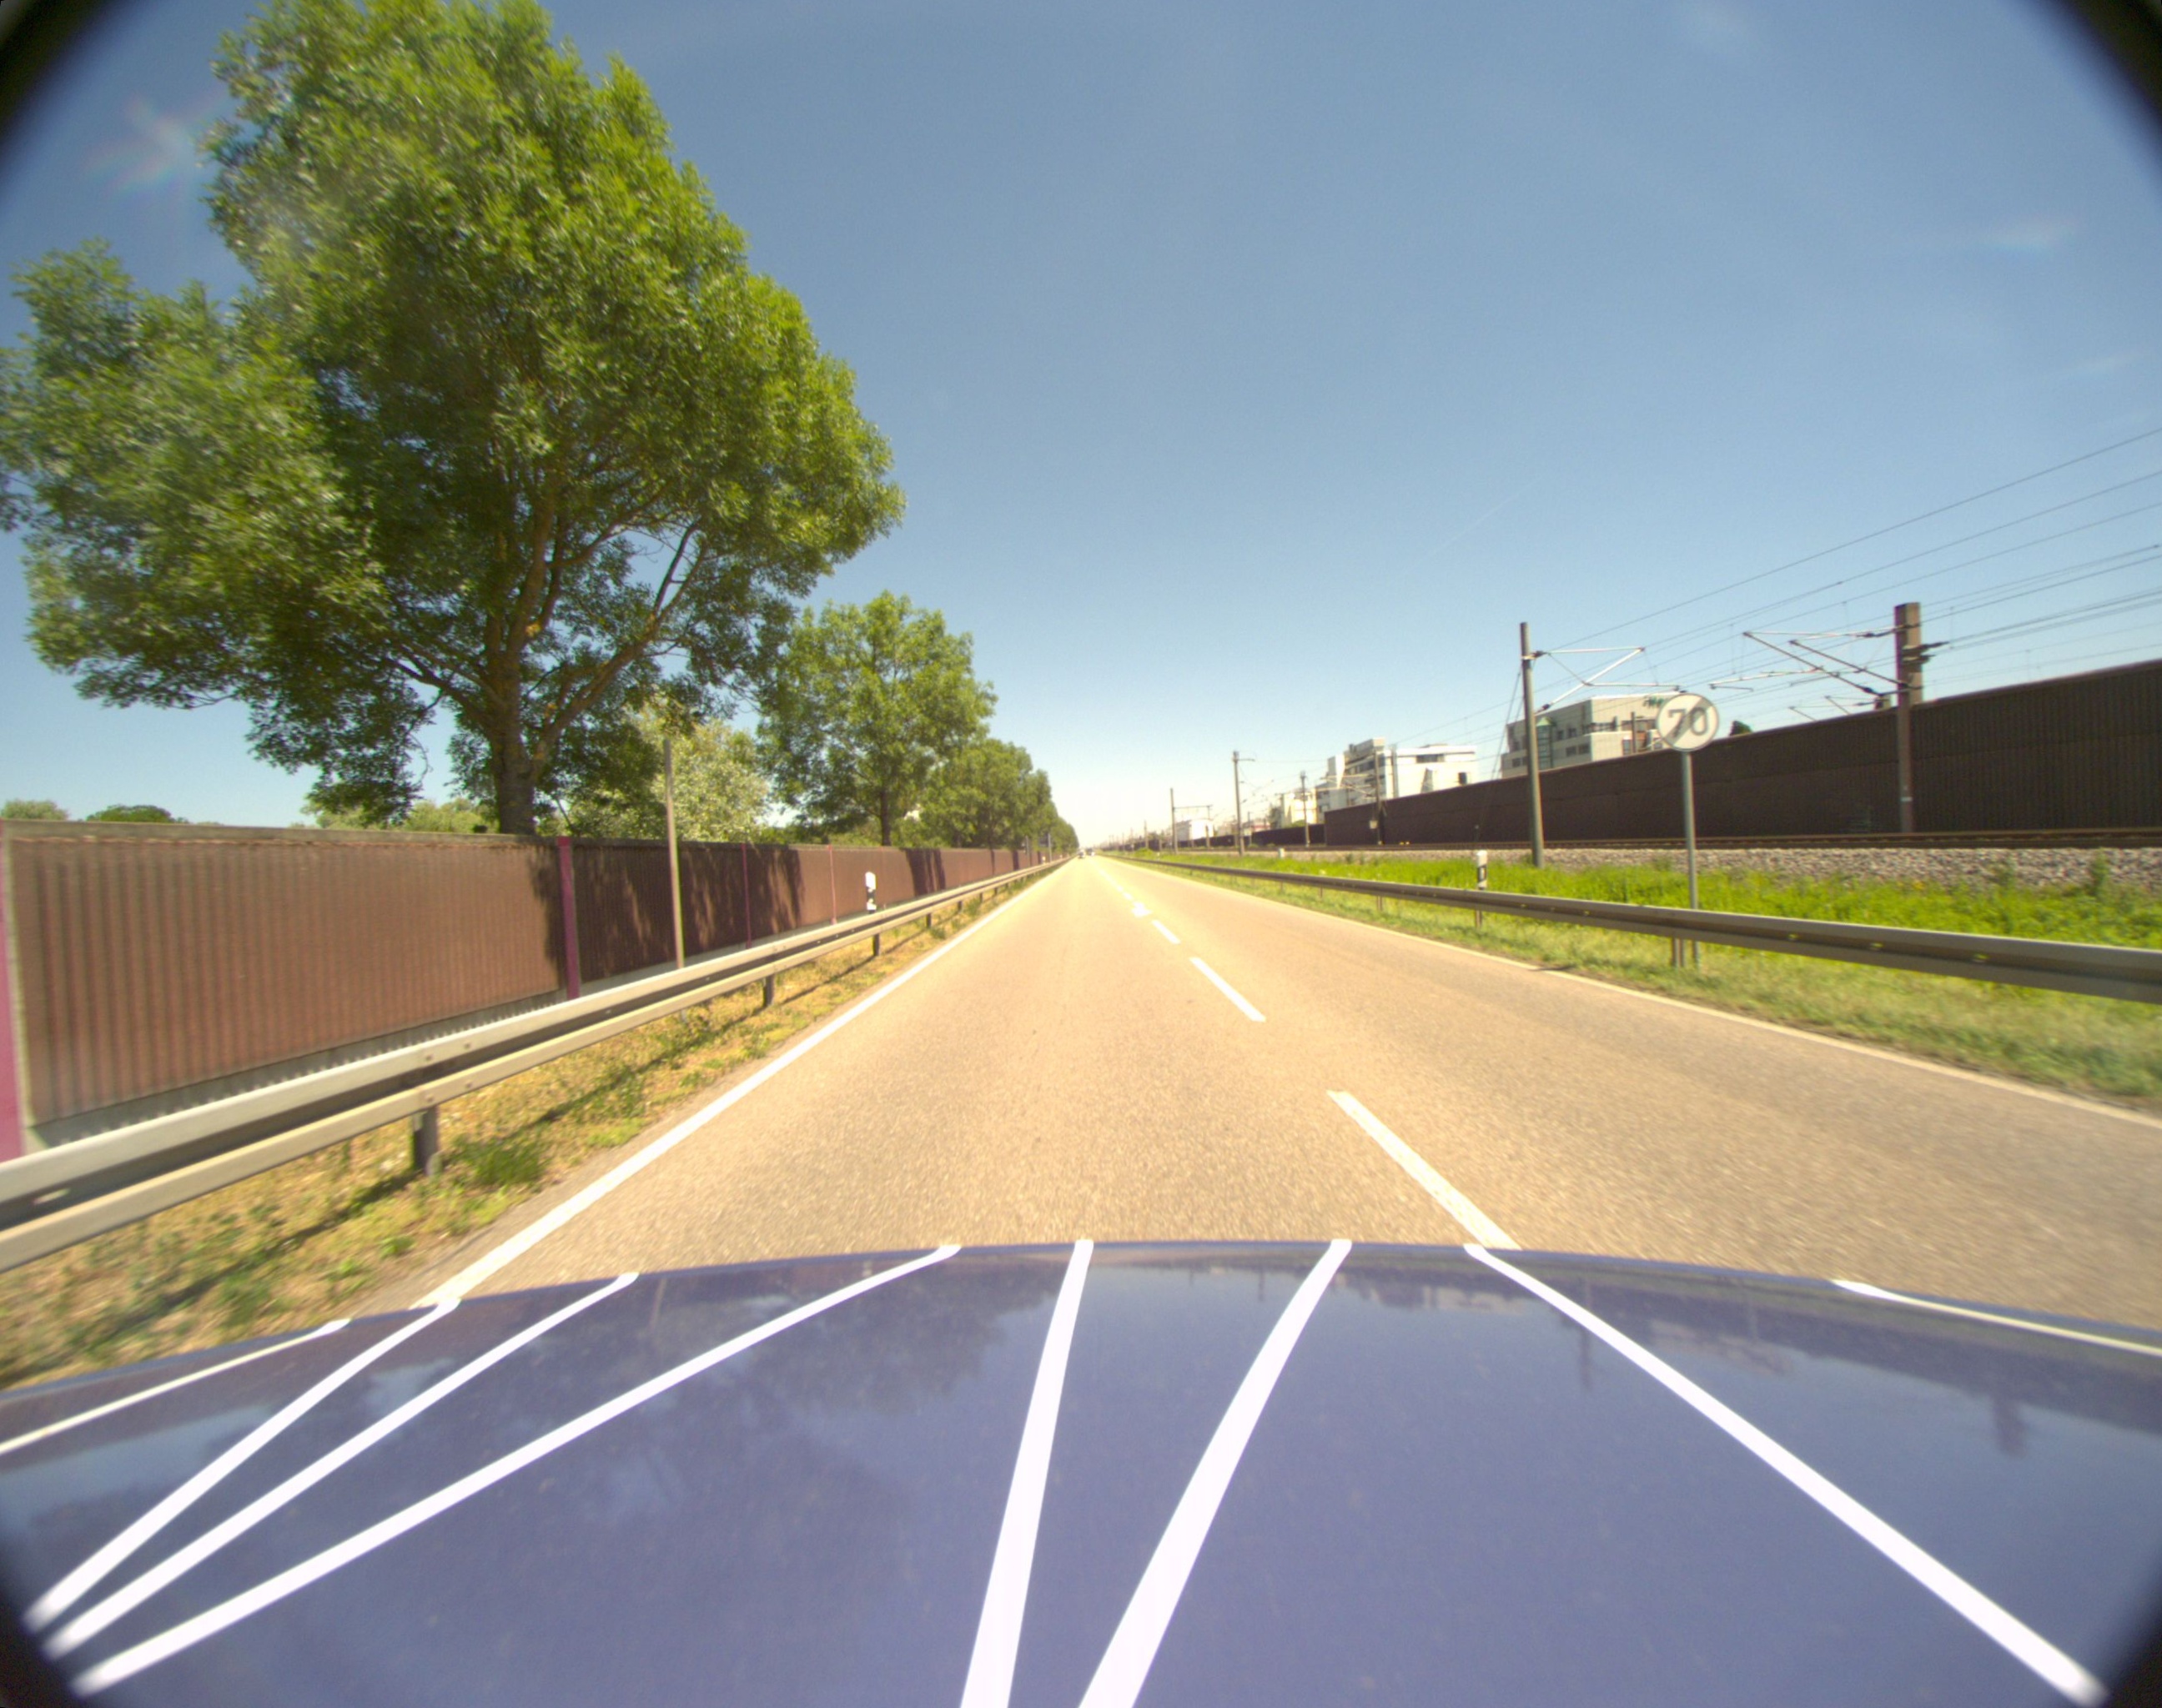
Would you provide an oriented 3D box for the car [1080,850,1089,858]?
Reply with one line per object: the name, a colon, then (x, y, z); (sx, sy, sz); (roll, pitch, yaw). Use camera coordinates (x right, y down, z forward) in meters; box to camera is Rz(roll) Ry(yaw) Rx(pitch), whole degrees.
car: (0.923, -0.091, 195.202); (1.998, 2.002, 4.000); (-2, 1, 3)
